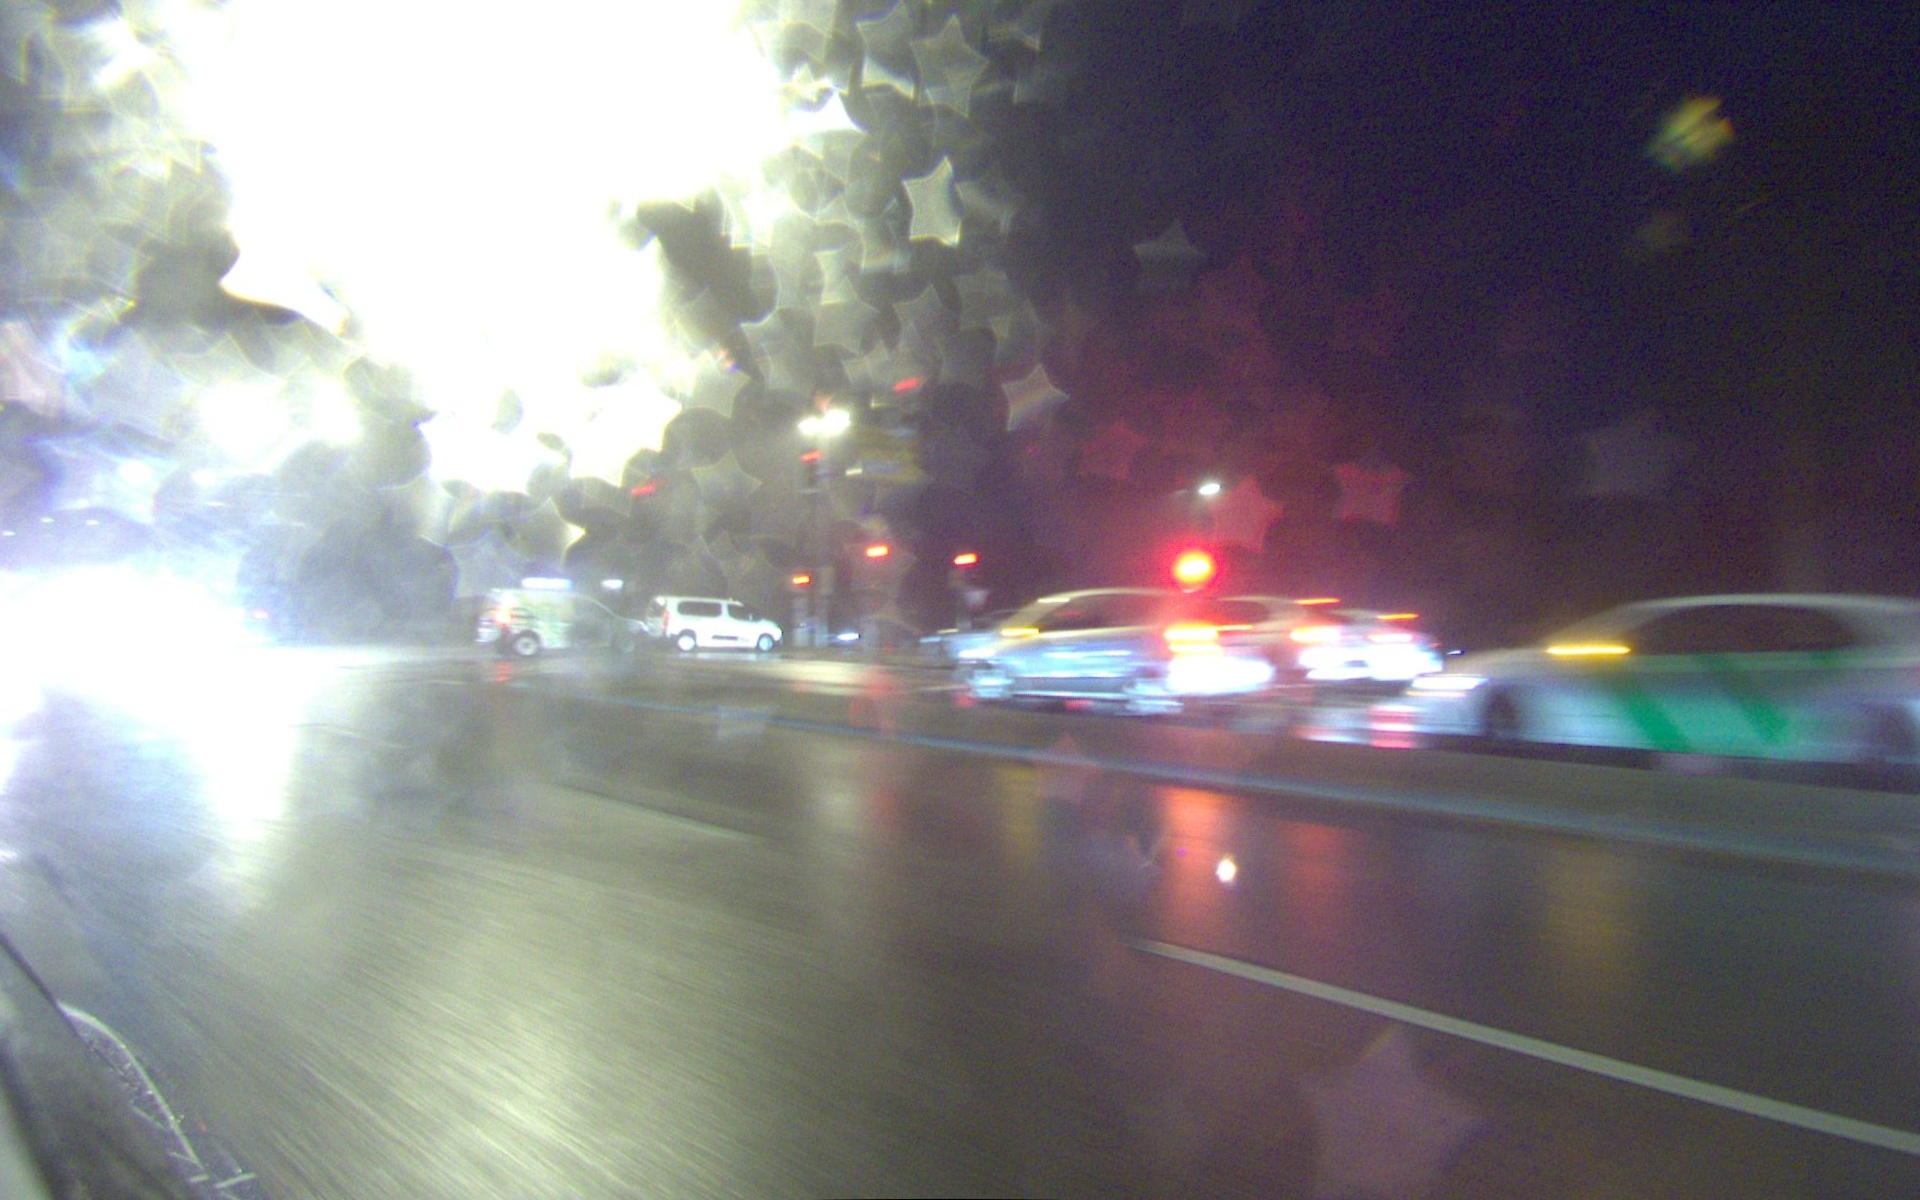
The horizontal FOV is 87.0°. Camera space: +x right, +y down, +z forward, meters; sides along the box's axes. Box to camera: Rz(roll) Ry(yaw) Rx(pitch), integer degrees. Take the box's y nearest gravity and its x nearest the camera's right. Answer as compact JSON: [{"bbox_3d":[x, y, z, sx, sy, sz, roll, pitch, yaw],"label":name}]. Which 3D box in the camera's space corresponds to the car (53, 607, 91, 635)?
[{"bbox_3d":[-63.019,1.480,71.820,1.819,1.705,4.004,-3,3,-43],"label":"car"}]

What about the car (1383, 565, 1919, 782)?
[{"bbox_3d":[6.180,0.514,8.622,4.413,1.495,1.757,-1,0,44],"label":"car"}]

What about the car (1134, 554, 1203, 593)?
[{"bbox_3d":[12.123,-1.562,58.672,3.936,2.094,1.785,-3,3,-39],"label":"car"}]

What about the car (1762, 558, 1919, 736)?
[{"bbox_3d":[10.263,0.457,9.651,3.977,1.678,1.779,1,1,43],"label":"car"}]

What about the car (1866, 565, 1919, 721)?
[{"bbox_3d":[13.155,0.502,11.499,4.250,1.812,1.779,1,3,43],"label":"car"}]

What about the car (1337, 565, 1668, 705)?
[{"bbox_3d":[8.366,0.440,15.843,4.284,1.862,1.741,1,3,43],"label":"car"}]

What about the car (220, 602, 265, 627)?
[{"bbox_3d":[-49.740,0.973,70.121,4.038,1.485,1.810,2,3,43],"label":"car"}]

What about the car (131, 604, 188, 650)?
[{"bbox_3d":[-36.528,1.197,46.131,1.643,1.867,4.150,0,2,-44],"label":"car"}]

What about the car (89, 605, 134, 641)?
[{"bbox_3d":[-48.885,1.285,58.281,3.612,1.952,1.688,2,1,45],"label":"car"}]

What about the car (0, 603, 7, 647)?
[{"bbox_3d":[-40.154,1.002,41.170,1.930,1.645,4.262,0,2,-44],"label":"car"}]

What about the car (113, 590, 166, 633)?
[{"bbox_3d":[-42.442,0.549,52.291,1.767,2.039,4.150,0,2,-44],"label":"car"}]

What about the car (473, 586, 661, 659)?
[{"bbox_3d":[-10.746,0.563,27.822,4.486,1.844,1.786,0,1,-40],"label":"car"}]

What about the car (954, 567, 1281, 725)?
[{"bbox_3d":[1.935,0.517,13.148,3.901,1.738,1.740,-1,0,43],"label":"car"}]

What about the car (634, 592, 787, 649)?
[{"bbox_3d":[-8.434,0.665,34.462,4.647,1.806,2.004,1,0,-40],"label":"car"}]

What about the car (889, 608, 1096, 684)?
[{"bbox_3d":[0.629,0.972,23.120,4.805,1.438,1.740,1,1,44],"label":"car"}]

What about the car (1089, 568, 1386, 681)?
[{"bbox_3d":[4.093,0.287,15.398,1.692,1.498,4.062,0,1,-43],"label":"car"}]
